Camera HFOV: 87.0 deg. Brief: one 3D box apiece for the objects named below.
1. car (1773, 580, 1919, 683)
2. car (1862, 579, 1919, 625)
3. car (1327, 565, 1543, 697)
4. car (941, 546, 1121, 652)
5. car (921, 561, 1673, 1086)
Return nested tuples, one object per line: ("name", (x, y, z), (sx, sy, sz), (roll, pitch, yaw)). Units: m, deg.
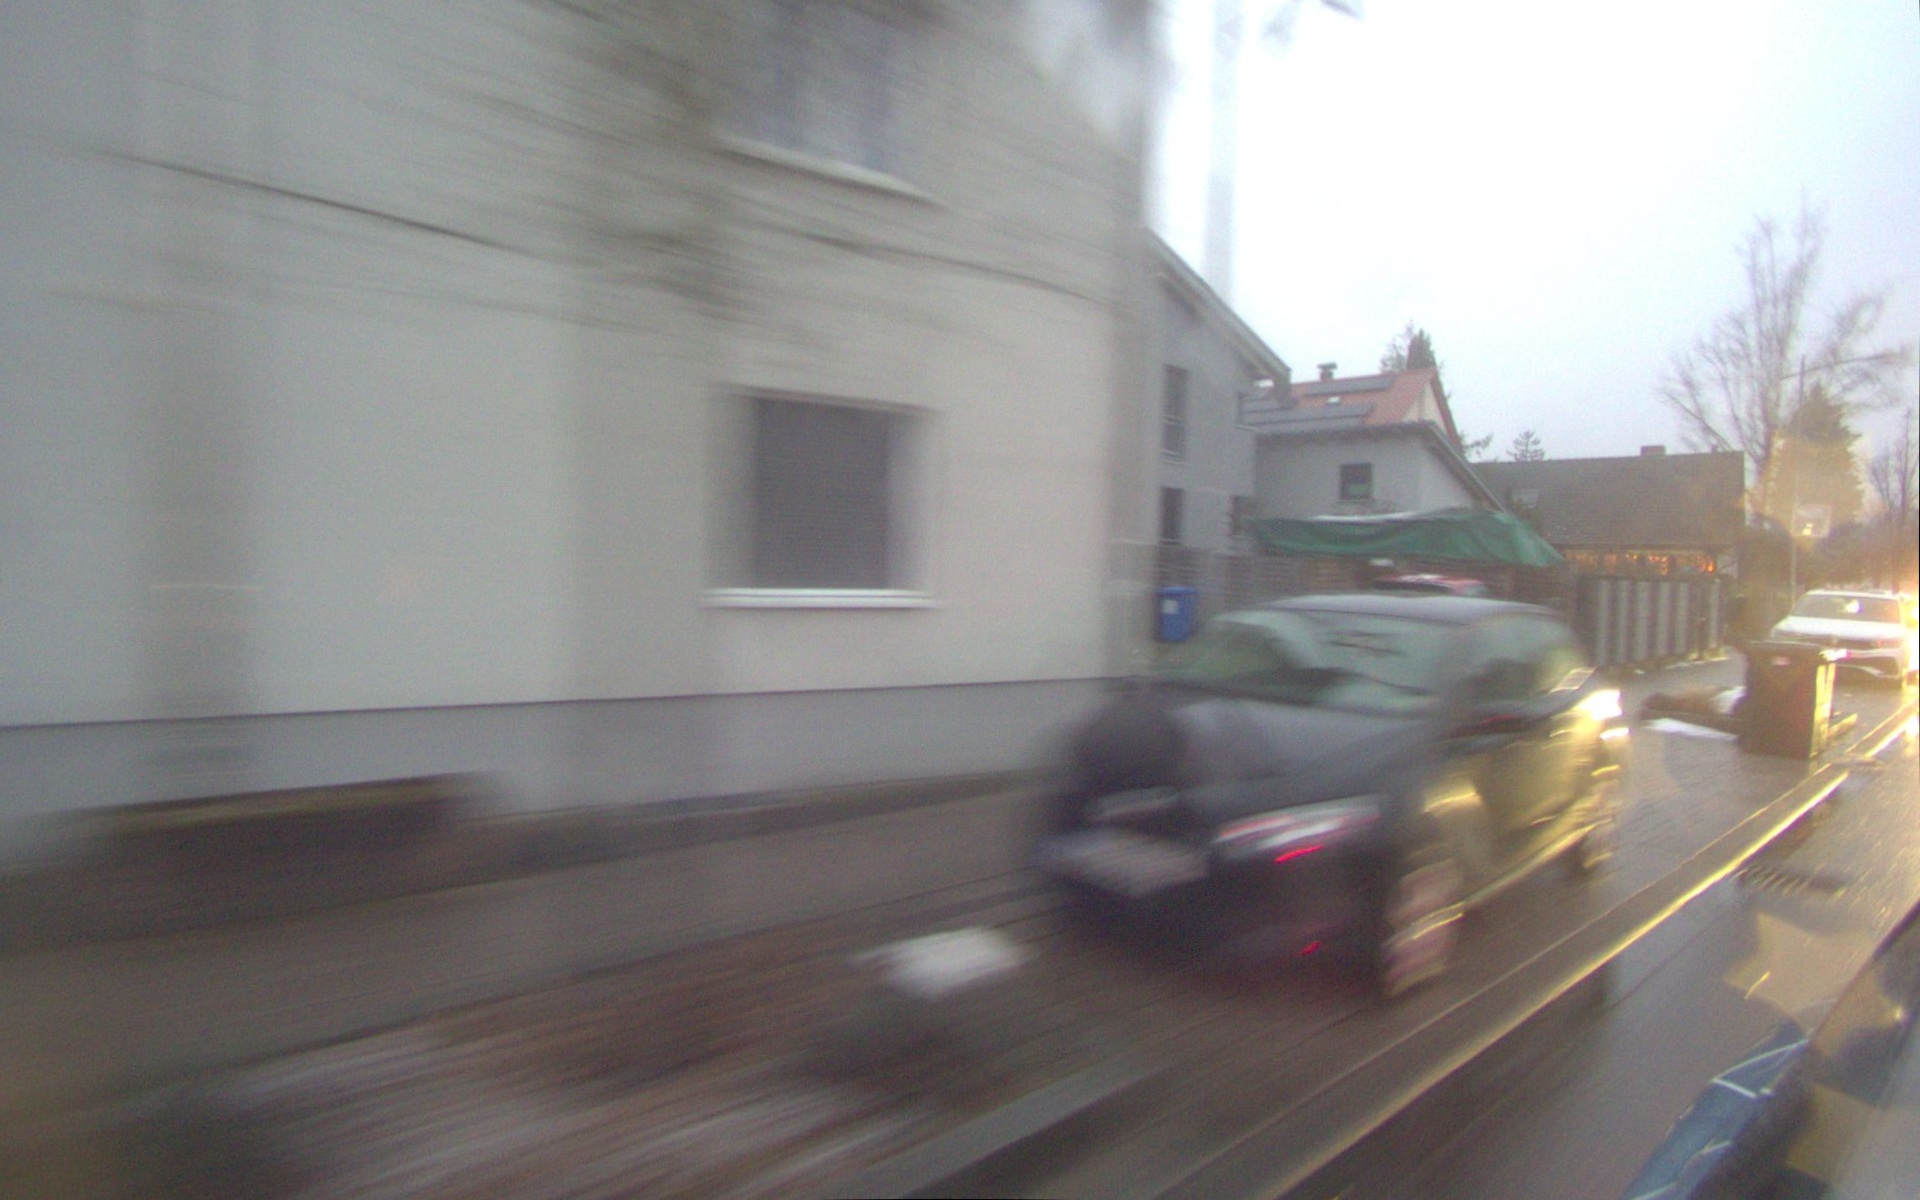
("car", (16.263, 0.479, 18.242), (4.231, 1.583, 1.810), (0, 3, -42))
("car", (40.209, 0.061, 43.524), (1.909, 1.812, 4.499), (4, 2, 40))
("car", (7.017, 0.340, 14.725), (1.805, 1.571, 4.243), (4, 3, 40))
("car", (1.107, -0.093, 17.610), (1.667, 1.611, 3.783), (2, 2, -20))
("car", (1.937, 0.626, 4.953), (4.121, 1.469, 1.705), (0, 3, -43))
